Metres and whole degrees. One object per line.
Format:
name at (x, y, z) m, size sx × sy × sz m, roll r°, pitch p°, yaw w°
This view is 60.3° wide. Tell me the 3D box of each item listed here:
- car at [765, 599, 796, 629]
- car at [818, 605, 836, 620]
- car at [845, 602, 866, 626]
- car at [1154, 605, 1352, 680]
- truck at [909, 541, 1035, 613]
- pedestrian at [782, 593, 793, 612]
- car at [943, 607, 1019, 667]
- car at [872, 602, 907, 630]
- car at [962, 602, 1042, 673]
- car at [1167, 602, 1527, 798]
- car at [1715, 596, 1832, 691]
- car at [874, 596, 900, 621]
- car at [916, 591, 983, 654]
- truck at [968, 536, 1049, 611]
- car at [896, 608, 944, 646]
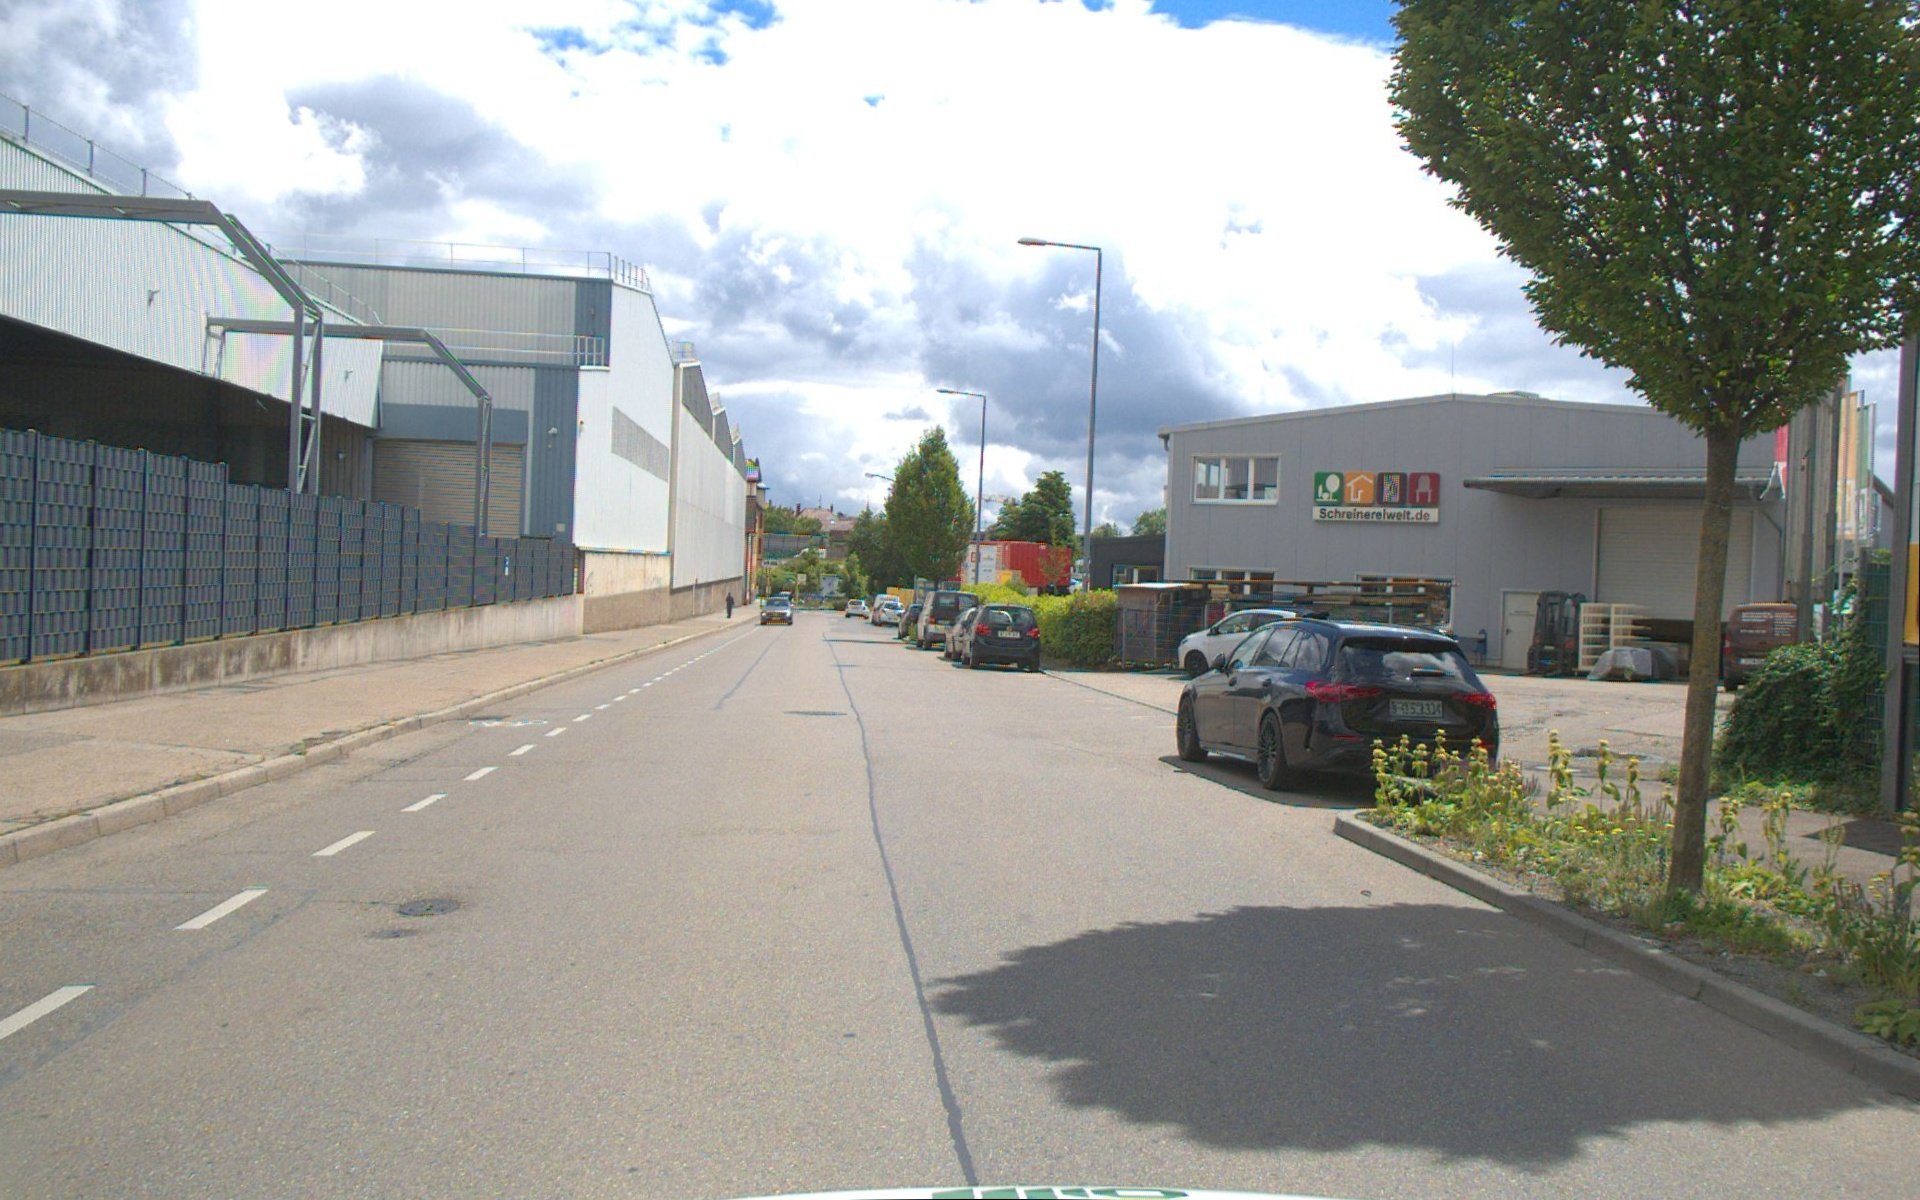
car at (-10.176, 0.819, 93.848) m, size 1.686 × 1.583 × 4.282 m, roll -1°, pitch -1°, yaw -6°
car at (-14.355, 1.350, 178.553) m, size 1.817 × 1.512 × 3.994 m, roll 2°, pitch -2°, yaw -6°
car at (-8.306, 1.140, 131.694) m, size 1.536 × 1.818 × 3.601 m, roll 2°, pitch -2°, yaw -5°
car at (6.312, 0.895, 35.930) m, size 1.711 × 1.488 × 4.010 m, roll -2°, pitch 0°, yaw -43°
truck at (0.836, -1.605, 114.920) m, size 8.271 × 4.753 × 2.584 m, roll 1°, pitch -2°, yaw 16°
pedestrian at (-15.657, 0.254, 149.856) m, size 0.836 × 1.692 × 0.859 m, roll 2°, pitch -2°, yaw -1°
car at (0.531, 1.000, 46.700) m, size 1.623 × 1.567 × 4.728 m, roll 2°, pitch -1°, yaw -5°
car at (-4.295, 0.965, 100.407) m, size 1.670 × 1.554 × 3.730 m, roll 5°, pitch 0°, yaw -9°
car at (1.009, 0.918, 41.742) m, size 1.646 × 1.666 × 4.119 m, roll 2°, pitch -1°, yaw -3°
car at (3.340, 0.807, 15.307) m, size 1.757 × 1.491 × 4.701 m, roll 2°, pitch -1°, yaw -6°
car at (17.464, 0.891, 35.430) m, size 1.780 × 1.904 × 4.029 m, roll 0°, pitch -1°, yaw 33°
car at (-4.910, 0.573, 111.281) m, size 1.667 × 1.554 × 3.735 m, roll 2°, pitch 0°, yaw -3°
car at (-0.410, 0.748, 56.571) m, size 1.833 × 2.025 × 5.138 m, roll 2°, pitch -1°, yaw -5°
truck at (3.078, -1.657, 108.313) m, size 2.536 × 4.527 × 7.815 m, roll 2°, pitch -2°, yaw -20°
car at (-1.736, 1.112, 70.174) m, size 1.681 × 1.499 × 4.506 m, roll 2°, pitch -1°, yaw -5°
